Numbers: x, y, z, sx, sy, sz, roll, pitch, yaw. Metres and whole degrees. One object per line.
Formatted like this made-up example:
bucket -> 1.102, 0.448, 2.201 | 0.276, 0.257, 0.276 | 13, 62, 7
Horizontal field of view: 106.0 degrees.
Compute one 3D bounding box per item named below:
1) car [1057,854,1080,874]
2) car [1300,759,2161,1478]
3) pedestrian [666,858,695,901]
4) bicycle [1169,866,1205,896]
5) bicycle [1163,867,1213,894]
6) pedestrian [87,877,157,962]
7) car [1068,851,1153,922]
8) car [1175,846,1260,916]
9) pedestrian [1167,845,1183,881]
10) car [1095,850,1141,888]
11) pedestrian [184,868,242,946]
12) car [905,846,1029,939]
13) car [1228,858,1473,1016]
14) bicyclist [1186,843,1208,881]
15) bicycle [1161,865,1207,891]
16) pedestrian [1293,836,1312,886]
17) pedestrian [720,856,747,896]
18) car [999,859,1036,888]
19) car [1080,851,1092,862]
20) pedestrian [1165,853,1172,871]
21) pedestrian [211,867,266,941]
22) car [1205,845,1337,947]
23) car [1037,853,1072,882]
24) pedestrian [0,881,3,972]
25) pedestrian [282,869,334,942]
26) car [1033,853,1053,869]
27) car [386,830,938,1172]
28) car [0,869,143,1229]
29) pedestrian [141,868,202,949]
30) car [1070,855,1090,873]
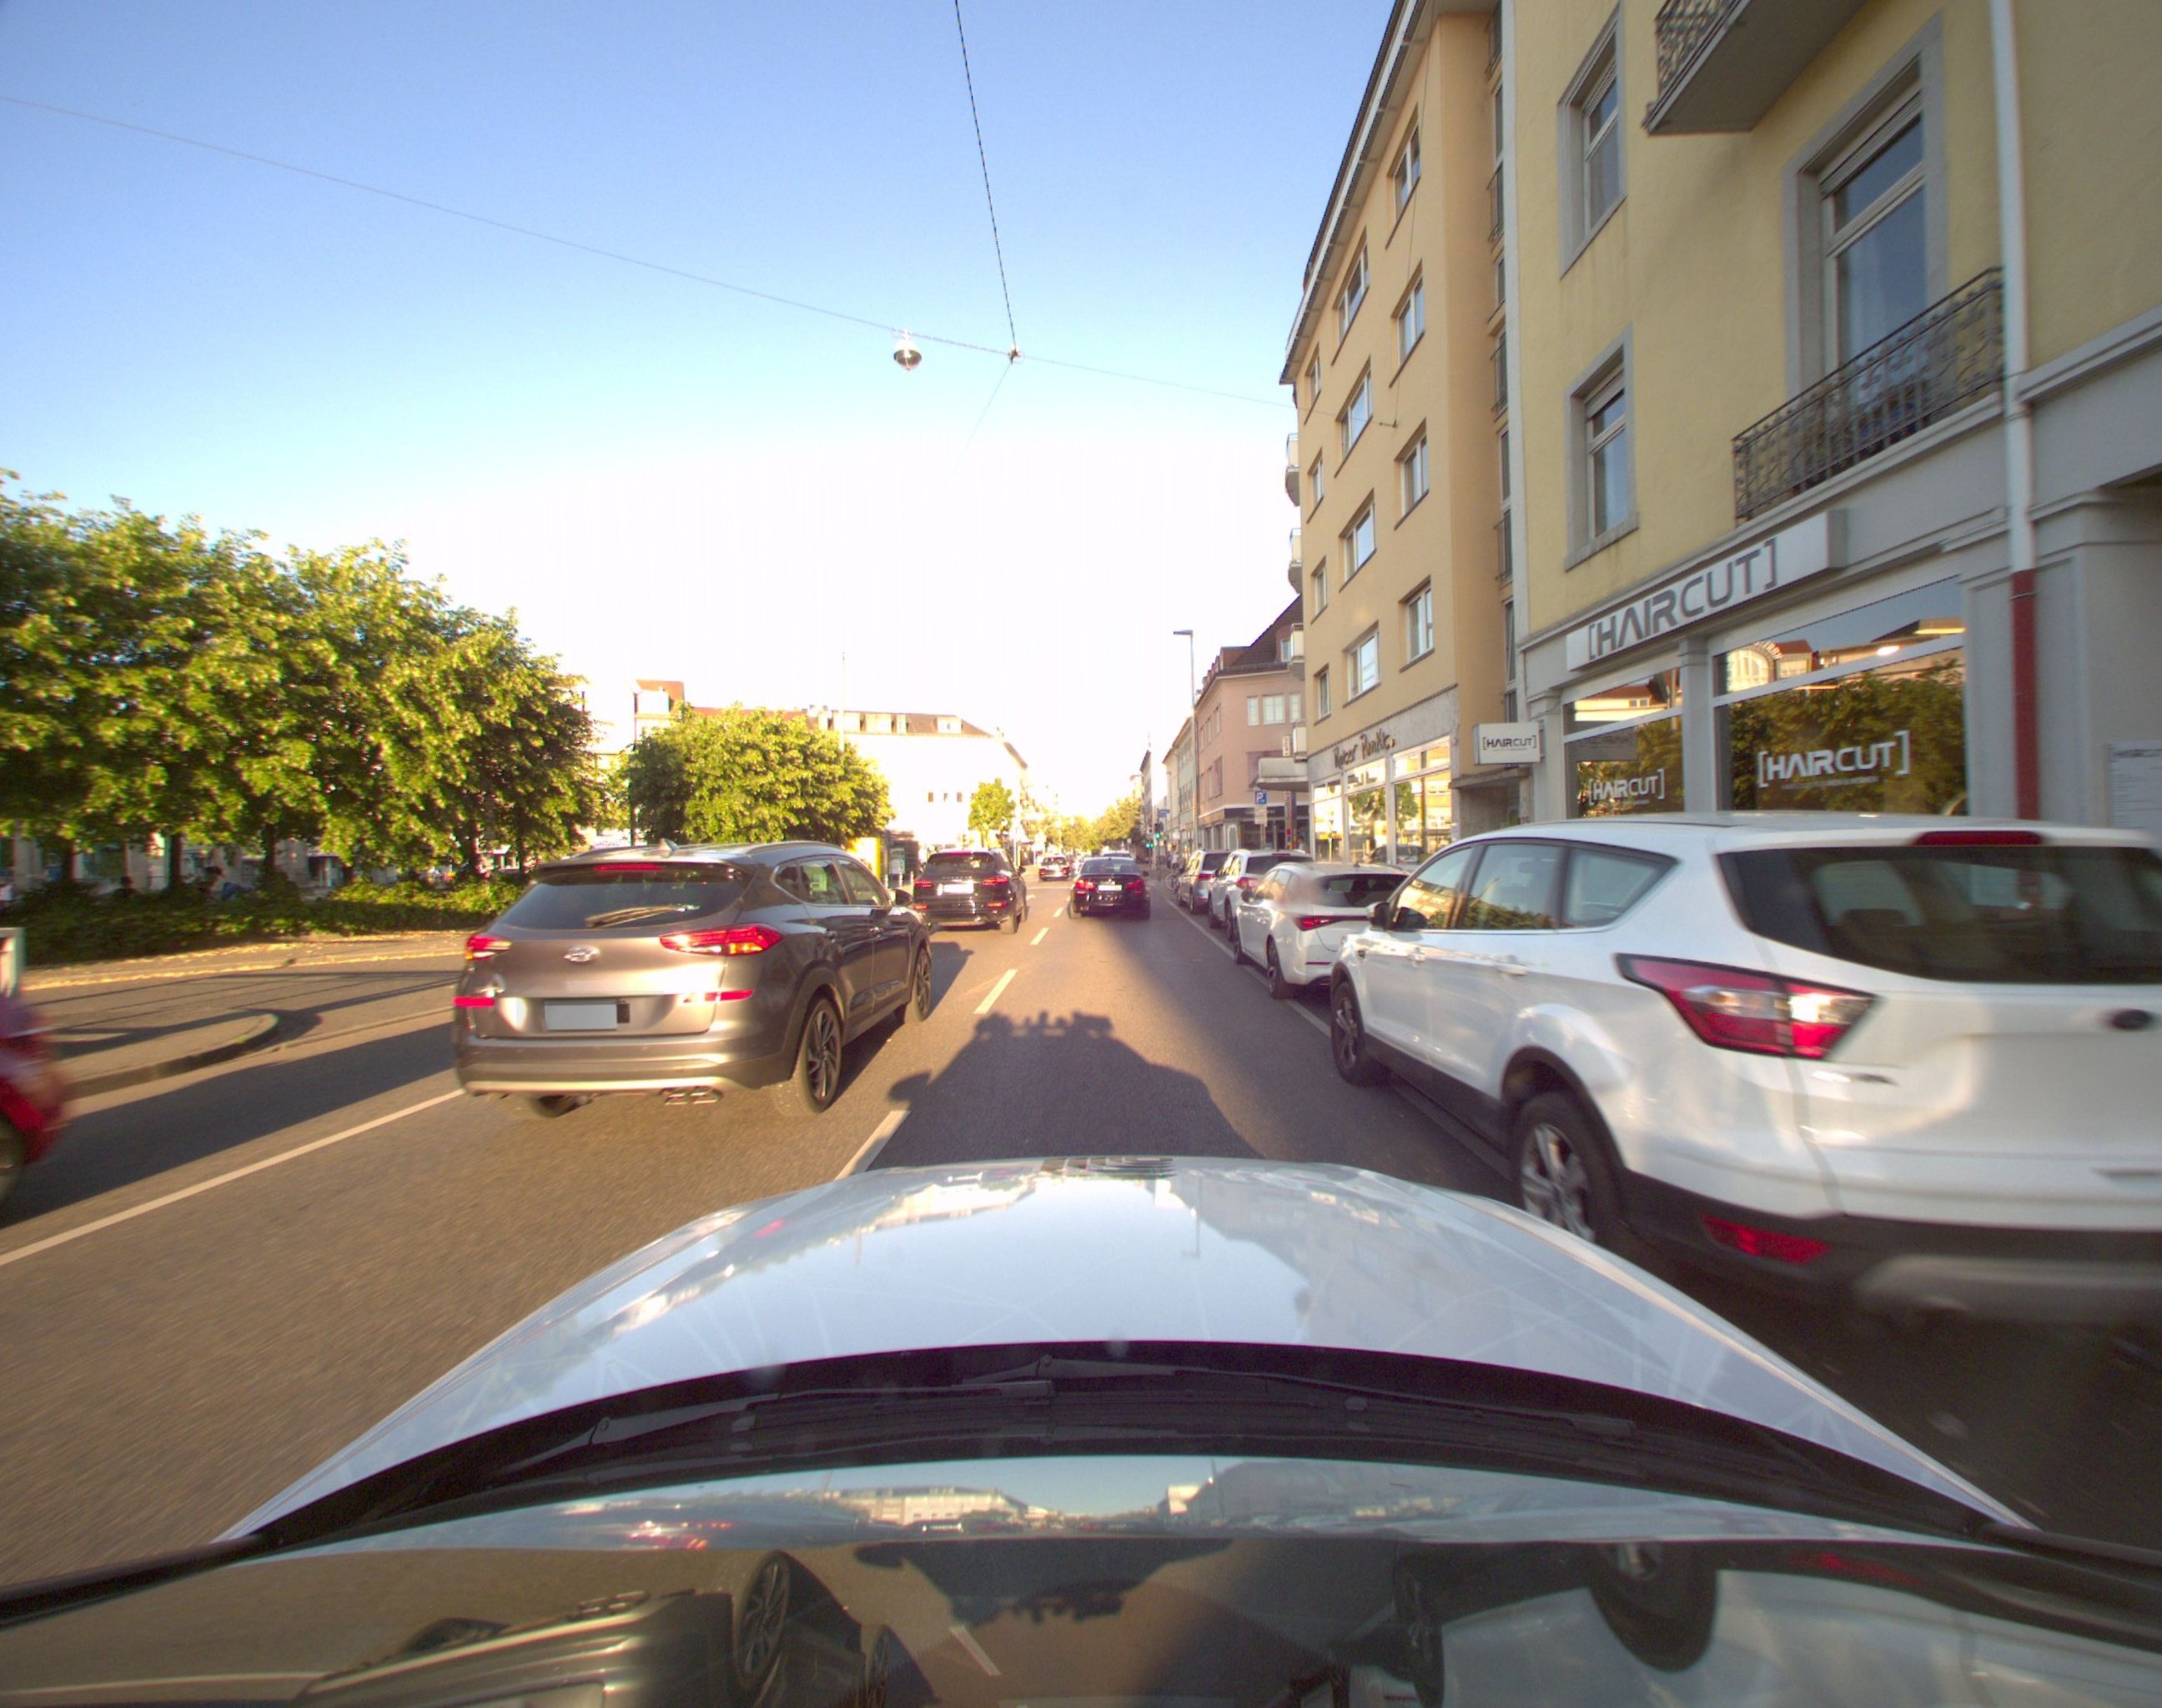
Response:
car -> -0.988, 0.814, 67.015 | 1.773, 1.547, 4.000 | -1, 0, 1
car -> 2.453, 0.632, 4.030 | 1.723, 1.651, 4.286 | 1, -1, 2
pedestrian -> -14.956, 0.954, 30.446 | 0.783, 1.595, 0.571 | -1, 0, 21
bicycle -> 3.693, 0.928, 28.558 | 0.490, 0.967, 1.760 | -1, 0, -19
bicycle -> 3.911, 0.973, 29.893 | 1.749, 0.967, 0.493 | -1, 0, 26
pedestrian -> -18.737, 1.254, 15.916 | 0.672, 1.595, 0.680 | -1, 0, 21
car -> 0.696, 0.725, 20.087 | 1.890, 1.581, 4.001 | 0, 0, 1
car -> 3.510, 0.673, 21.508 | 1.723, 1.652, 3.972 | 1, -1, 2
pedestrian -> 4.720, 0.448, 40.946 | 0.697, 1.812, 0.634 | -1, 0, -2
car -> 1.574, 0.639, 35.722 | 1.890, 1.581, 4.001 | 0, 0, 1
pedestrian -> -18.363, 1.097, 17.227 | 0.783, 1.595, 0.571 | -1, 0, 21
car -> -2.207, 0.704, 16.853 | 1.890, 1.649, 4.105 | -1, 0, 1
car -> 2.912, 0.794, 9.782 | 1.722, 1.450, 4.315 | 0, -1, 3
bicyclist -> 5.519, 0.393, 38.743 | 0.823, 1.777, 0.612 | -1, 0, 28
bicycle -> 3.965, 0.925, 31.375 | 1.757, 0.967, 0.491 | -1, 0, 6
pedestrian -> 8.117, 0.251, 29.876 | 0.506, 1.812, 0.572 | -1, 0, -2
pedestrian -> -13.993, 0.885, 32.789 | 0.783, 1.595, 0.571 | -1, 0, 21
car -> -3.725, 1.118, 48.289 | 1.773, 1.547, 4.000 | -1, 0, 1
car -> 0.802, 0.402, 126.573 | 1.773, 1.547, 4.000 | -1, 0, 1
pedestrian -> 7.570, 0.674, 70.409 | 0.630, 1.534, 0.702 | -1, 0, 4
pedestrian -> -18.763, 1.090, 18.135 | 0.783, 1.595, 0.571 | -1, 0, 21
car -> 3.405, 0.702, 15.285 | 1.723, 1.652, 3.831 | 1, -1, 2
car -> -1.447, 0.719, 46.363 | 1.773, 1.547, 4.000 | -1, 0, 1
pedestrian -> -19.346, 1.279, 14.084 | 0.672, 1.595, 0.680 | -1, 0, 21
pedestrian -> -17.561, 1.152, 18.503 | 0.783, 1.595, 0.571 | -1, 0, 21
car -> -3.827, 0.676, 83.096 | 1.686, 1.552, 3.952 | -3, 0, 1
car -> -2.427, 0.728, 6.058 | 1.890, 1.649, 4.105 | -1, 0, 1
car -> -5.603, 0.903, 2.085 | 1.686, 1.552, 3.952 | -3, 0, 1
pedestrian -> -18.466, 1.095, 16.538 | 0.783, 1.595, 0.571 | -1, 0, 21
car -> -0.102, 0.935, 75.879 | 1.773, 1.547, 4.000 | -1, 0, 1
